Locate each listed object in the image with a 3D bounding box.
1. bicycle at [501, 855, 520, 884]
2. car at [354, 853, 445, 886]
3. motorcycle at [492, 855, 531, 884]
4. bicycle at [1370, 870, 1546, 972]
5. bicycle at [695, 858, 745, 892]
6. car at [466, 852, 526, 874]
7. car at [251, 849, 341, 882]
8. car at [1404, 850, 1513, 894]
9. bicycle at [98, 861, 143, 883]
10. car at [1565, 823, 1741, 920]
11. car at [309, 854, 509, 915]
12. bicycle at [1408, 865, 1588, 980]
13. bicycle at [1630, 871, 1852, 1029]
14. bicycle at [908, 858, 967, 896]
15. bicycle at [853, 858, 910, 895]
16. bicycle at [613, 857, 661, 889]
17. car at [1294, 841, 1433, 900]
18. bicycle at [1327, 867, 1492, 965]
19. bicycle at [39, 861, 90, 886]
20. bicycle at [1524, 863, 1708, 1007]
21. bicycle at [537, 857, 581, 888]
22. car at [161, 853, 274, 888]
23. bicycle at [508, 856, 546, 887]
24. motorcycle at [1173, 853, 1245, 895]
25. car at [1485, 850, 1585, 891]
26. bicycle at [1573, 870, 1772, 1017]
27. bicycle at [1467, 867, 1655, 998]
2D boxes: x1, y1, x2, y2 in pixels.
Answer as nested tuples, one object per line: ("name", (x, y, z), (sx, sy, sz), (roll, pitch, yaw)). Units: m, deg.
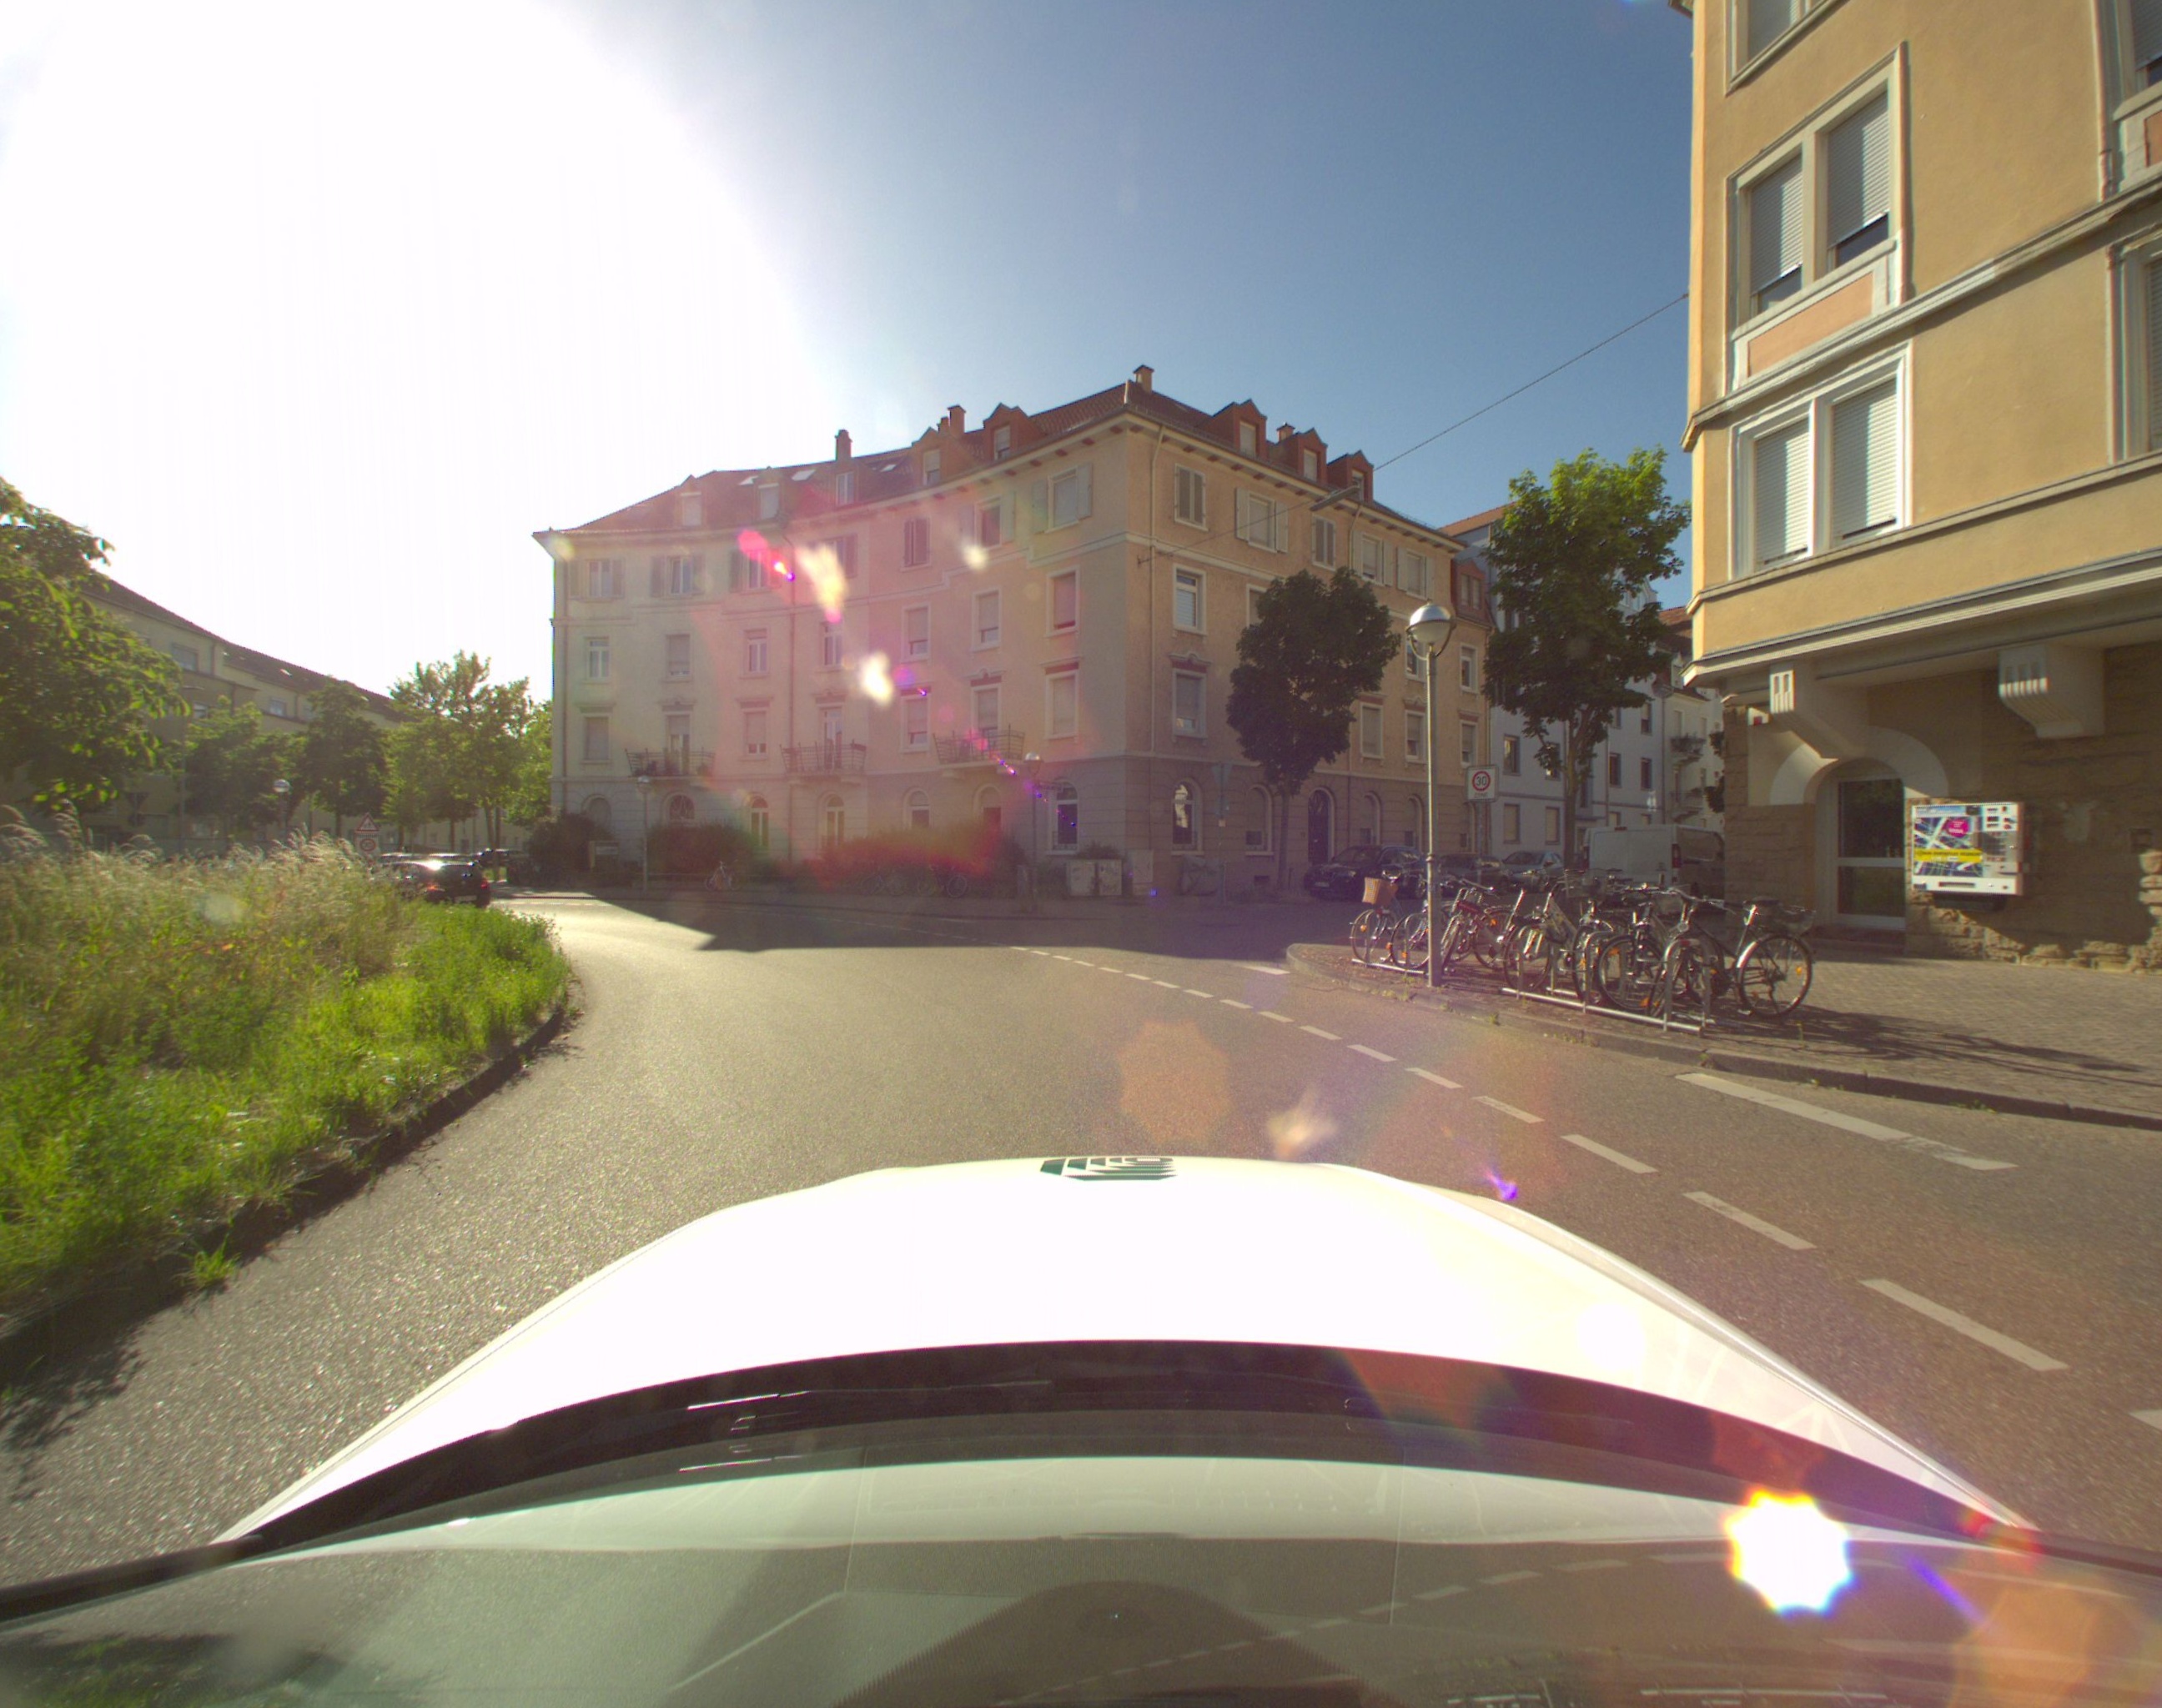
("bicycle", (-22.706, 0.607, 32.403), (0.502, 1.107, 1.928), (-1, 1, -38))
("car", (-30.892, 0.678, 37.067), (1.799, 1.413, 3.976), (0, 0, -18))
("motorcycle", (-24.312, 0.645, 34.793), (0.887, 1.191, 1.482), (-2, 1, -16))
("bicycle", (4.300, 0.733, 9.300), (1.874, 1.090, 0.534), (0, -1, -12))
("bicycle", (-12.098, 0.685, 27.276), (1.666, 1.088, 0.505), (0, 2, 25))
("car", (-34.195, 0.501, 47.714), (1.800, 1.255, 3.695), (-1, 0, -19))
("car", (-39.557, 0.552, 41.157), (1.801, 1.576, 3.972), (-1, 0, -21))
("car", (12.824, 0.583, 27.593), (3.677, 1.412, 1.684), (0, 0, -33))
("bicycle", (-45.276, 0.844, 38.403), (0.498, 1.026, 1.447), (0, 0, -6))
("car", (12.953, 0.345, 18.338), (4.584, 1.909, 2.117), (0, 0, -40))
("car", (-16.924, 0.725, 20.573), (3.958, 1.419, 1.878), (0, 1, 14))
("bicycle", (4.438, 0.697, 8.696), (1.692, 1.145, 0.635), (0, -1, -12))
("bicycle", (5.184, 0.707, 6.396), (1.717, 1.123, 0.480), (0, -1, -17))
("bicycle", (-4.203, 0.659, 23.873), (1.666, 1.088, 0.505), (0, 2, 22))
("bicycle", (-6.083, 0.678, 24.840), (1.666, 1.088, 0.505), (0, 2, 22))
("bicycle", (-16.255, 0.673, 29.847), (0.495, 1.107, 1.689), (0, 1, 15))
("car", (8.616, 0.471, 24.716), (4.367, 1.642, 1.888), (0, 0, -37))
("bicycle", (4.035, 0.729, 10.020), (1.866, 1.130, 0.695), (0, -2, -18))
("bicycle", (-44.543, 0.847, 35.706), (0.498, 1.026, 1.447), (0, 0, -6))
("bicycle", (4.806, 0.681, 7.308), (1.696, 1.191, 0.448), (0, -1, -20))
("bicycle", (-19.309, 0.664, 30.126), (1.778, 1.107, 0.503), (0, 1, 25))
("car", (-37.457, 0.695, 35.470), (1.805, 1.411, 3.972), (-1, 0, -21))
("bicycle", (-21.039, 0.651, 30.917), (1.777, 1.107, 0.503), (0, 1, 31))
("motorcycle", (3.993, 0.606, 25.384), (2.161, 1.220, 0.933), (-1, 2, -33))
("car", (17.207, 0.594, 30.823), (4.018, 1.486, 1.684), (0, 0, -33))
("bicycle", (4.997, 0.710, 6.870), (1.696, 1.123, 0.480), (0, -1, -20))
("bicycle", (4.611, 0.707, 7.830), (1.696, 1.145, 0.613), (0, -1, -20))
